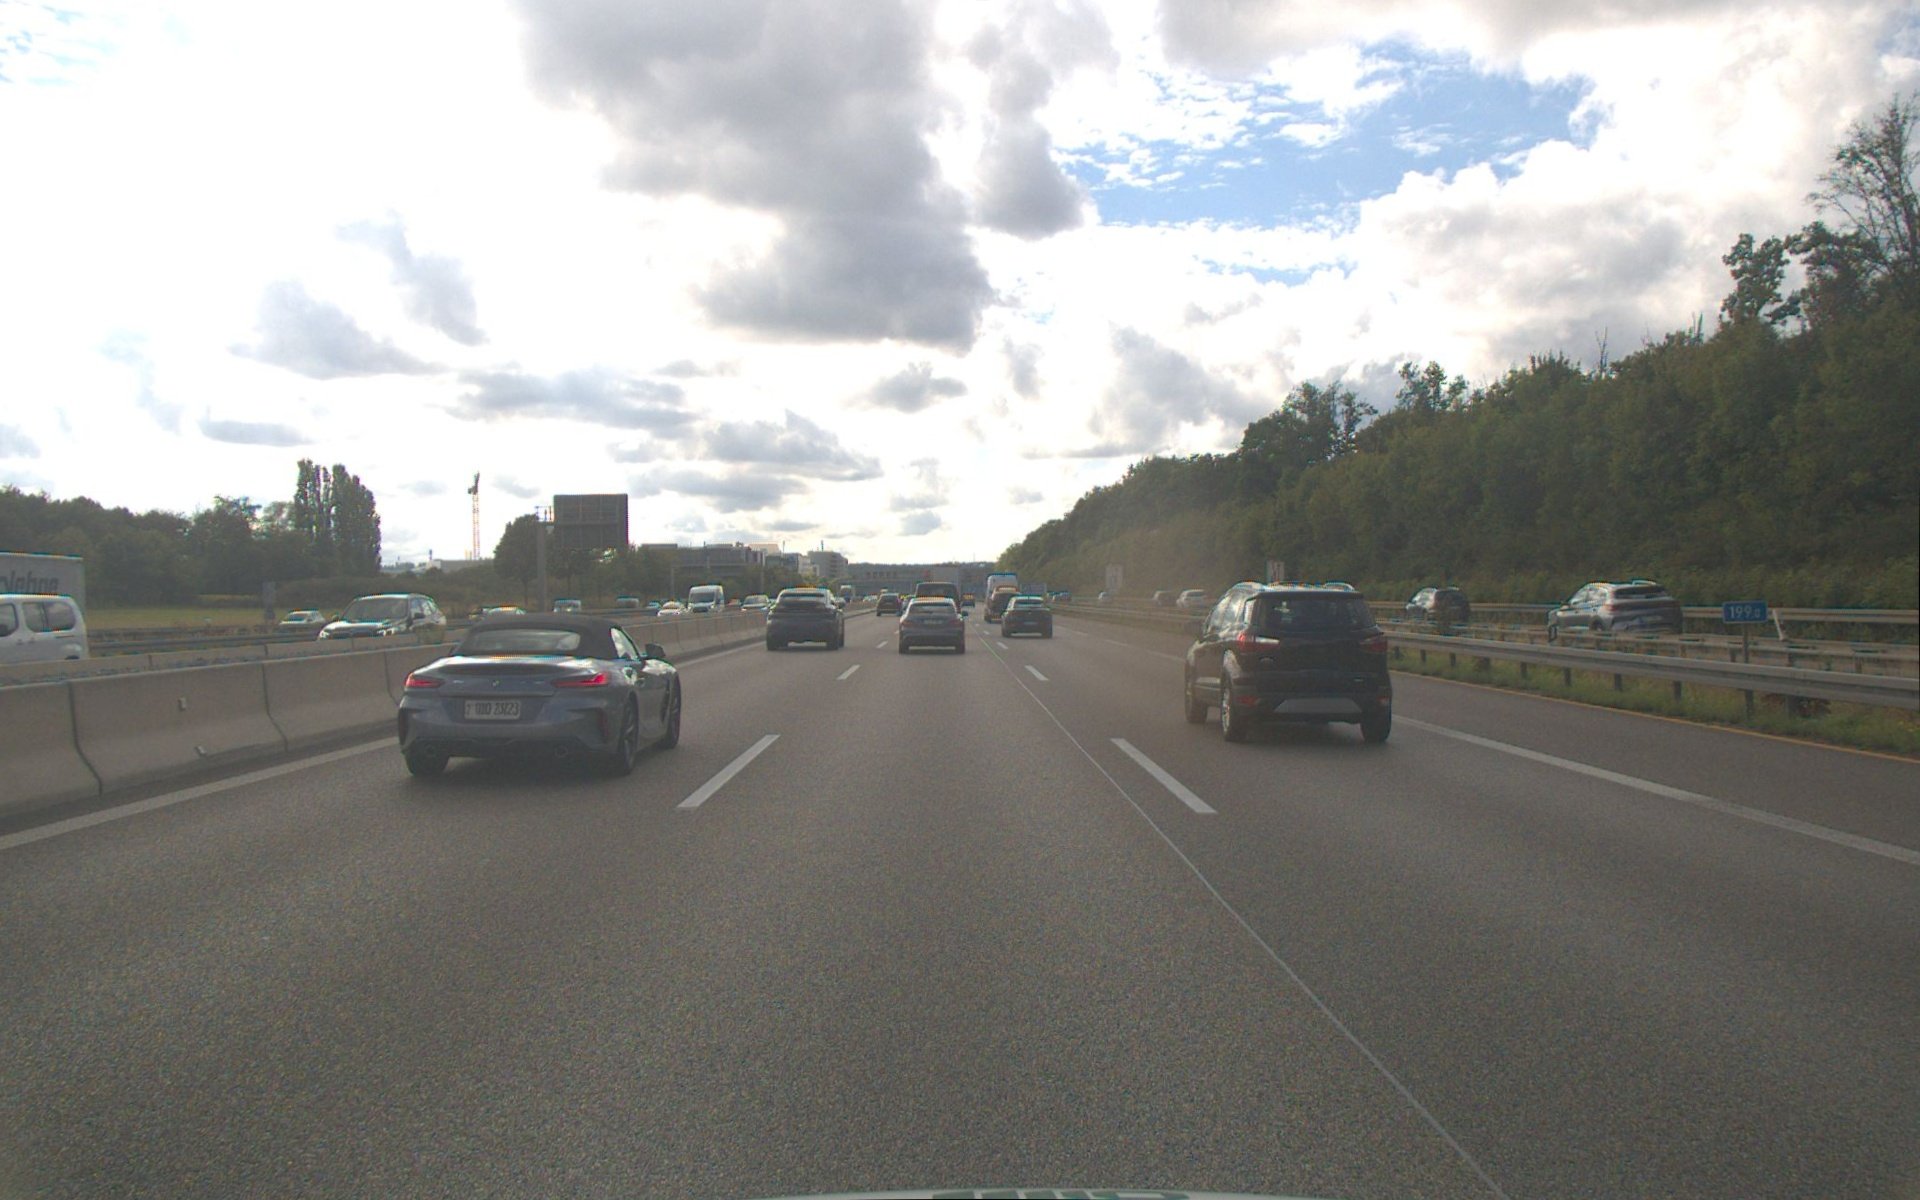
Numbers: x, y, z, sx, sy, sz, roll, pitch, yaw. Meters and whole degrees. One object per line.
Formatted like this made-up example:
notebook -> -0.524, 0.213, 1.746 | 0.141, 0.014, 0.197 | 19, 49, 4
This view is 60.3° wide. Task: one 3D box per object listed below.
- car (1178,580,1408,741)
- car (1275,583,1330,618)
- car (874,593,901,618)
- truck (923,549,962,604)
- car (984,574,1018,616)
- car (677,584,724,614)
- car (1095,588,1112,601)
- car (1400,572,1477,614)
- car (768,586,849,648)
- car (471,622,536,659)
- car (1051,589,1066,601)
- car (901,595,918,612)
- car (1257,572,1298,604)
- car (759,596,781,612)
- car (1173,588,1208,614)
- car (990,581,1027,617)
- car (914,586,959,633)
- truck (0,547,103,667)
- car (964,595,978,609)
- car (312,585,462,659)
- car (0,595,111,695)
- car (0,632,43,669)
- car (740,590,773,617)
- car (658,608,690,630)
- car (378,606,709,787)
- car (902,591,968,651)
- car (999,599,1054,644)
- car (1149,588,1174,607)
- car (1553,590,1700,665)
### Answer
car -> 3.610, 0.595, 18.633 | 1.663, 1.592, 4.113 | 0, 0, -1
car -> 15.986, 0.022, 77.414 | 1.563, 1.573, 4.188 | 0, 0, -2
car -> -5.191, 0.403, 119.170 | 1.835, 1.727, 4.071 | 0, 0, -1
truck -> -1.477, -1.954, 141.219 | 3.196, 4.451, 11.024 | 0, 0, -1
car -> 2.436, -0.302, 98.783 | 1.835, 2.399, 4.281 | 0, 0, -1
car -> -17.704, -0.083, 113.100 | 2.307, 2.001, 5.833 | 0, 0, 0
car -> 17.712, -0.648, 204.194 | 1.716, 1.543, 4.189 | 0, 0, -2
car -> 19.453, -0.308, 67.457 | 1.694, 1.572, 4.304 | -2, 1, -2
car -> -4.263, 0.439, 47.156 | 1.873, 1.664, 5.499 | 0, 0, -1
car -> -20.695, 1.817, 75.166 | 1.727, 1.559, 4.716 | 0, 0, -1
car -> 13.944, -0.729, 234.661 | 1.694, 1.560, 4.452 | -1, 0, -1
car -> -5.026, 0.349, 164.665 | 1.663, 1.639, 4.113 | 0, 0, -1
car -> 18.746, -0.714, 97.819 | 1.563, 1.835, 3.823 | 0, 0, -2
car -> -17.705, 0.381, 154.268 | 1.604, 1.428, 4.490 | 0, 0, -2
car -> 15.690, 0.079, 112.613 | 1.716, 1.725, 4.189 | 0, 0, -1
car -> 2.680, -0.072, 91.717 | 1.874, 1.952, 4.030 | 0, 0, -1
car -> -0.896, 0.341, 63.319 | 1.686, 1.754, 4.390 | 0, 0, -1
truck -> -40.887, 0.297, 69.021 | 3.011, 4.886, 14.125 | 0, 0, -1
car -> 1.380, 0.254, 212.698 | 1.716, 1.725, 4.189 | 0, 0, -1
car -> -12.885, 0.456, 37.509 | 1.727, 1.559, 4.941 | 0, 0, -1
car -> -16.038, 0.717, 27.184 | 1.728, 1.559, 4.941 | 0, 0, -1
car -> -37.069, 1.936, 63.379 | 1.576, 1.336, 4.112 | 0, 0, -1
car -> -13.627, 0.227, 110.935 | 1.727, 1.761, 4.702 | 0, 0, -1
car -> -21.497, 1.432, 124.390 | 1.691, 1.556, 4.863 | 0, 0, -2
car -> -3.569, 0.749, 15.157 | 1.835, 1.325, 4.941 | 0, 0, -1
car -> -0.675, 0.527, 44.366 | 1.686, 1.505, 4.390 | 0, 0, -1
car -> 2.412, 0.760, 60.835 | 1.795, 1.547, 4.224 | 0, 0, -1
car -> 18.140, -0.247, 148.859 | 1.716, 1.725, 4.189 | 0, 0, -1
car -> 16.495, 0.642, 41.166 | 1.809, 1.678, 4.305 | -2, 1, -1
